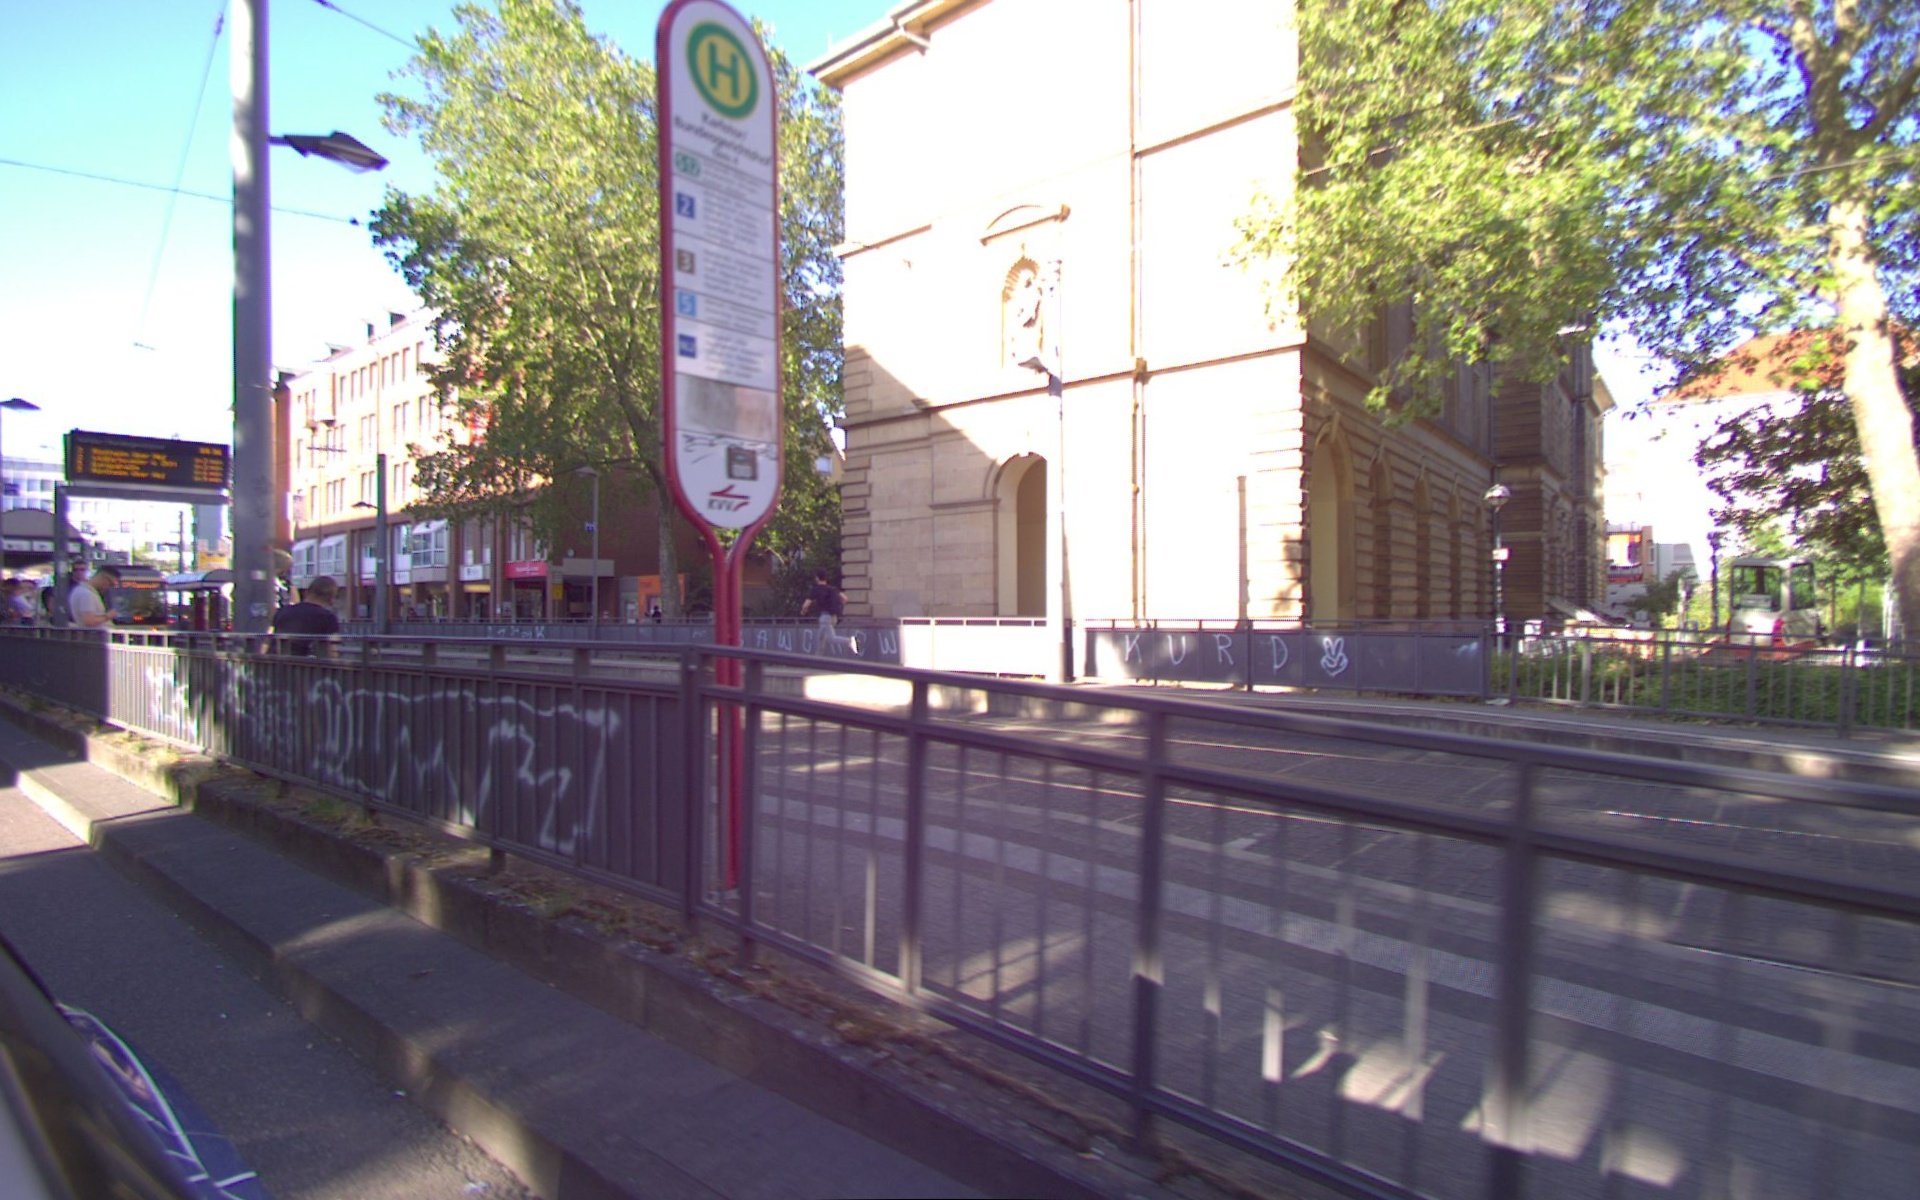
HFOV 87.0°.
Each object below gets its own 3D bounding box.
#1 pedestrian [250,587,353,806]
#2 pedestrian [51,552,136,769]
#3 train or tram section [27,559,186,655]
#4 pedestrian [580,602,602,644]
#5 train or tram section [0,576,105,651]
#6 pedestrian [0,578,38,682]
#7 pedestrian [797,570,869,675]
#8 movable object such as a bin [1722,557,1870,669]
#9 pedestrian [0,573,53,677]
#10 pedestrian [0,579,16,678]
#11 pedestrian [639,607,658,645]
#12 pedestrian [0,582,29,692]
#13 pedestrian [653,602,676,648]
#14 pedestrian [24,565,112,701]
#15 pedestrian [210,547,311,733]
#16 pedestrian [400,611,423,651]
[{"bbox_3d":[-4.192,0.595,6.464,0.473,1.339,0.355,0,-1,-20],"label":"pedestrian"},{"bbox_3d":[-8.945,0.604,10.447,0.807,2.136,0.532,-1,-1,40],"label":"pedestrian"},{"bbox_3d":[-38.438,0.438,45.158,16.476,3.672,2.943,-2,0,41],"label":"train or tram section"},{"bbox_3d":[-15.903,0.990,43.614,0.648,1.819,0.680,-1,-1,40],"label":"pedestrian"},{"bbox_3d":[-49.864,0.727,55.129,13.937,3.672,2.943,-1,1,41],"label":"train or tram section"},{"bbox_3d":[-15.473,0.483,16.563,0.589,1.661,0.488,-1,-1,39],"label":"pedestrian"},{"bbox_3d":[-2.131,0.373,16.940,1.033,1.680,0.688,-1,-1,41],"label":"pedestrian"},{"bbox_3d":[16.043,0.248,19.413,2.604,2.029,1.179,0,-1,-26],"label":"movable object such as a bin"},{"bbox_3d":[-16.327,0.425,17.636,0.747,1.765,0.683,-1,-1,39],"label":"pedestrian"},{"bbox_3d":[-17.658,0.517,18.353,0.747,1.778,0.683,-1,-1,39],"label":"pedestrian"},{"bbox_3d":[-12.852,1.066,41.696,0.474,1.541,0.577,-1,-1,42],"label":"pedestrian"},{"bbox_3d":[-14.760,0.568,15.732,0.528,1.682,0.348,-1,-1,40],"label":"pedestrian"},{"bbox_3d":[-12.307,1.032,42.180,0.626,1.896,0.698,-1,-1,45],"label":"pedestrian"},{"bbox_3d":[-12.592,0.442,14.287,0.803,1.845,0.763,0,1,37],"label":"pedestrian"},{"bbox_3d":[-6.910,0.379,10.007,0.754,1.747,0.590,0,-1,-42],"label":"pedestrian"},{"bbox_3d":[-26.716,1.519,49.263,0.665,1.930,0.781,-1,-1,39],"label":"pedestrian"}]
